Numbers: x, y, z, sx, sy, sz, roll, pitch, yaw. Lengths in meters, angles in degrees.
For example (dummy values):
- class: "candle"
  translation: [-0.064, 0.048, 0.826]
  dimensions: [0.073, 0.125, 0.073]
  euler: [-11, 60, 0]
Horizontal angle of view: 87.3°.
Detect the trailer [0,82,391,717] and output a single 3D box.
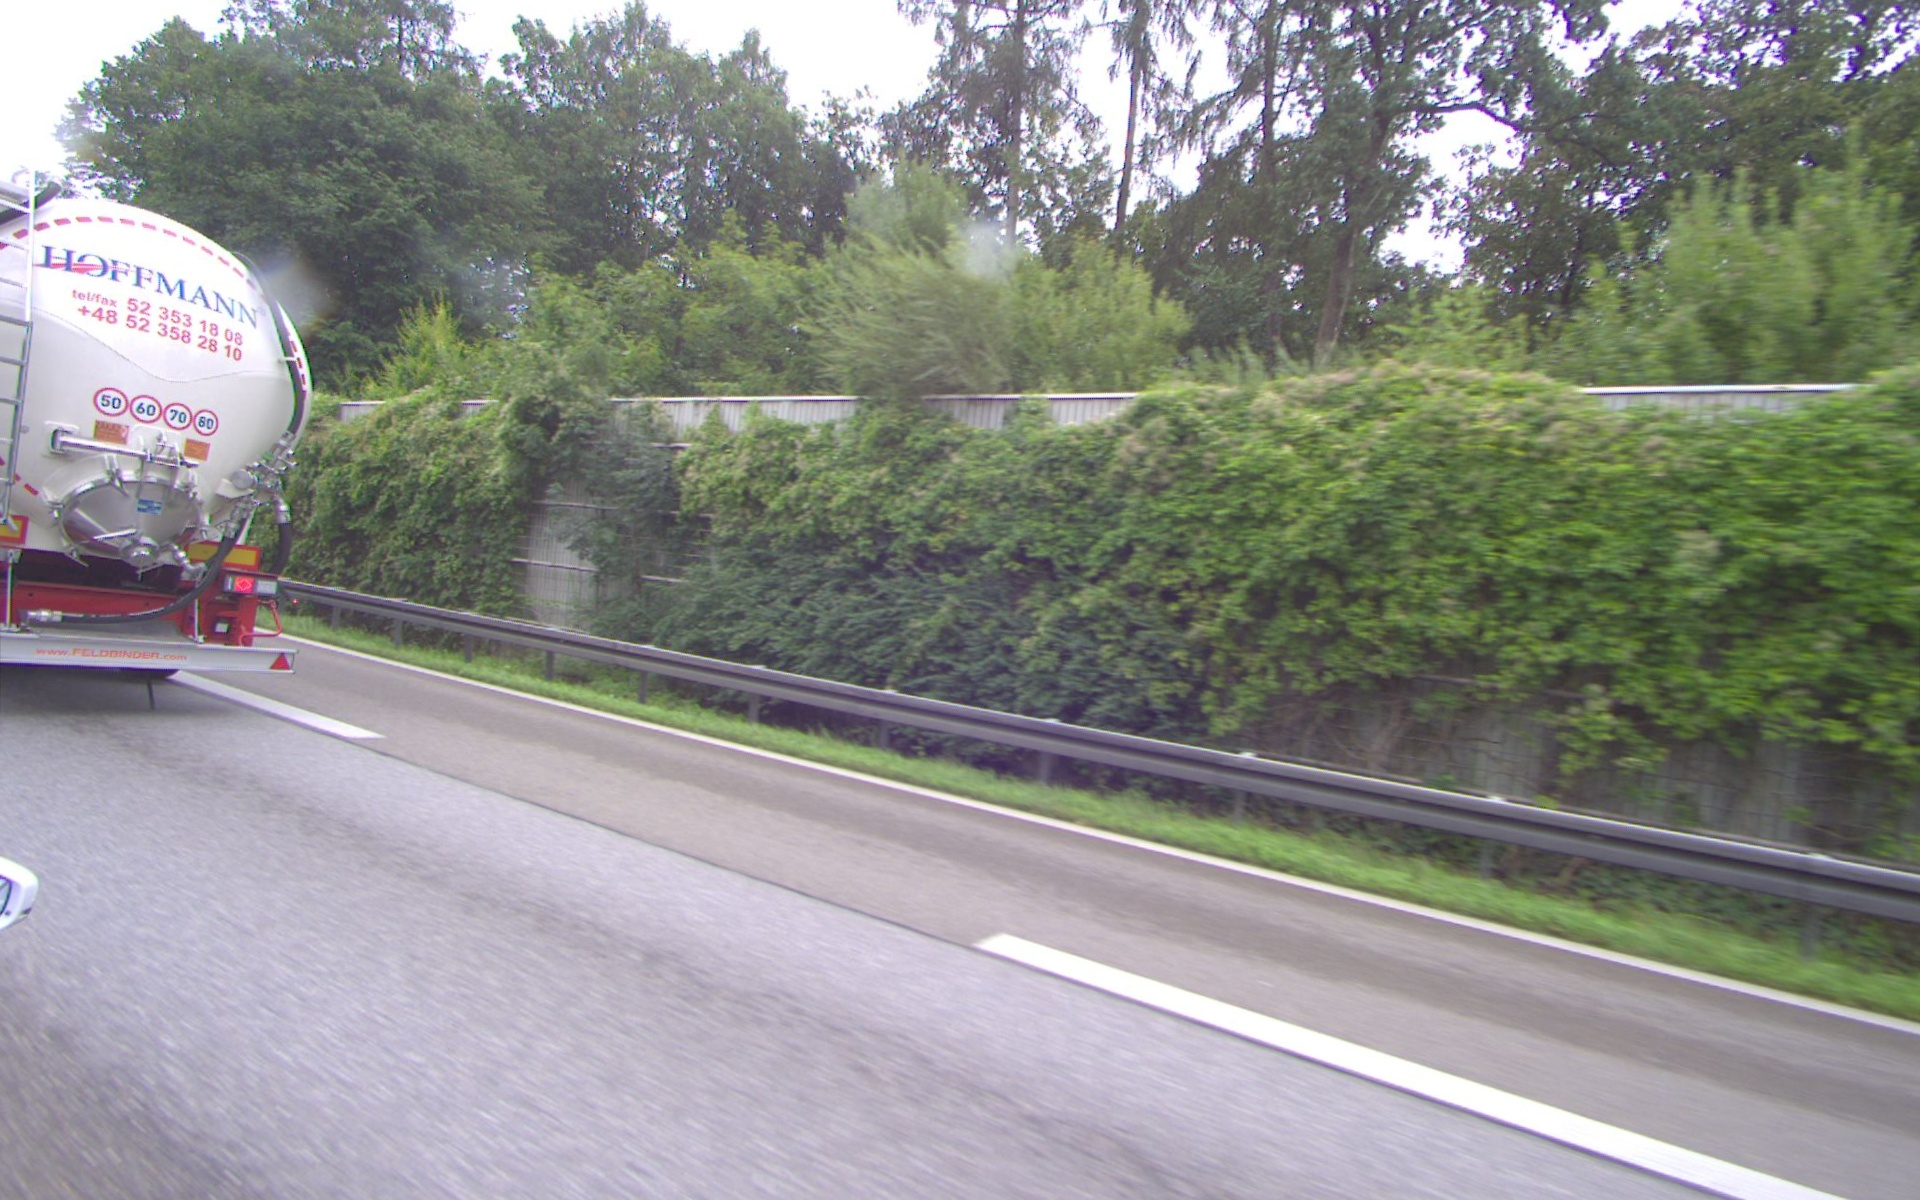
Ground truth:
- class: "trailer"
  translation: [-11.079, -1.733, 10.653]
  dimensions: [12.914, 3.986, 2.672]
  euler: [6, -1, 32]
